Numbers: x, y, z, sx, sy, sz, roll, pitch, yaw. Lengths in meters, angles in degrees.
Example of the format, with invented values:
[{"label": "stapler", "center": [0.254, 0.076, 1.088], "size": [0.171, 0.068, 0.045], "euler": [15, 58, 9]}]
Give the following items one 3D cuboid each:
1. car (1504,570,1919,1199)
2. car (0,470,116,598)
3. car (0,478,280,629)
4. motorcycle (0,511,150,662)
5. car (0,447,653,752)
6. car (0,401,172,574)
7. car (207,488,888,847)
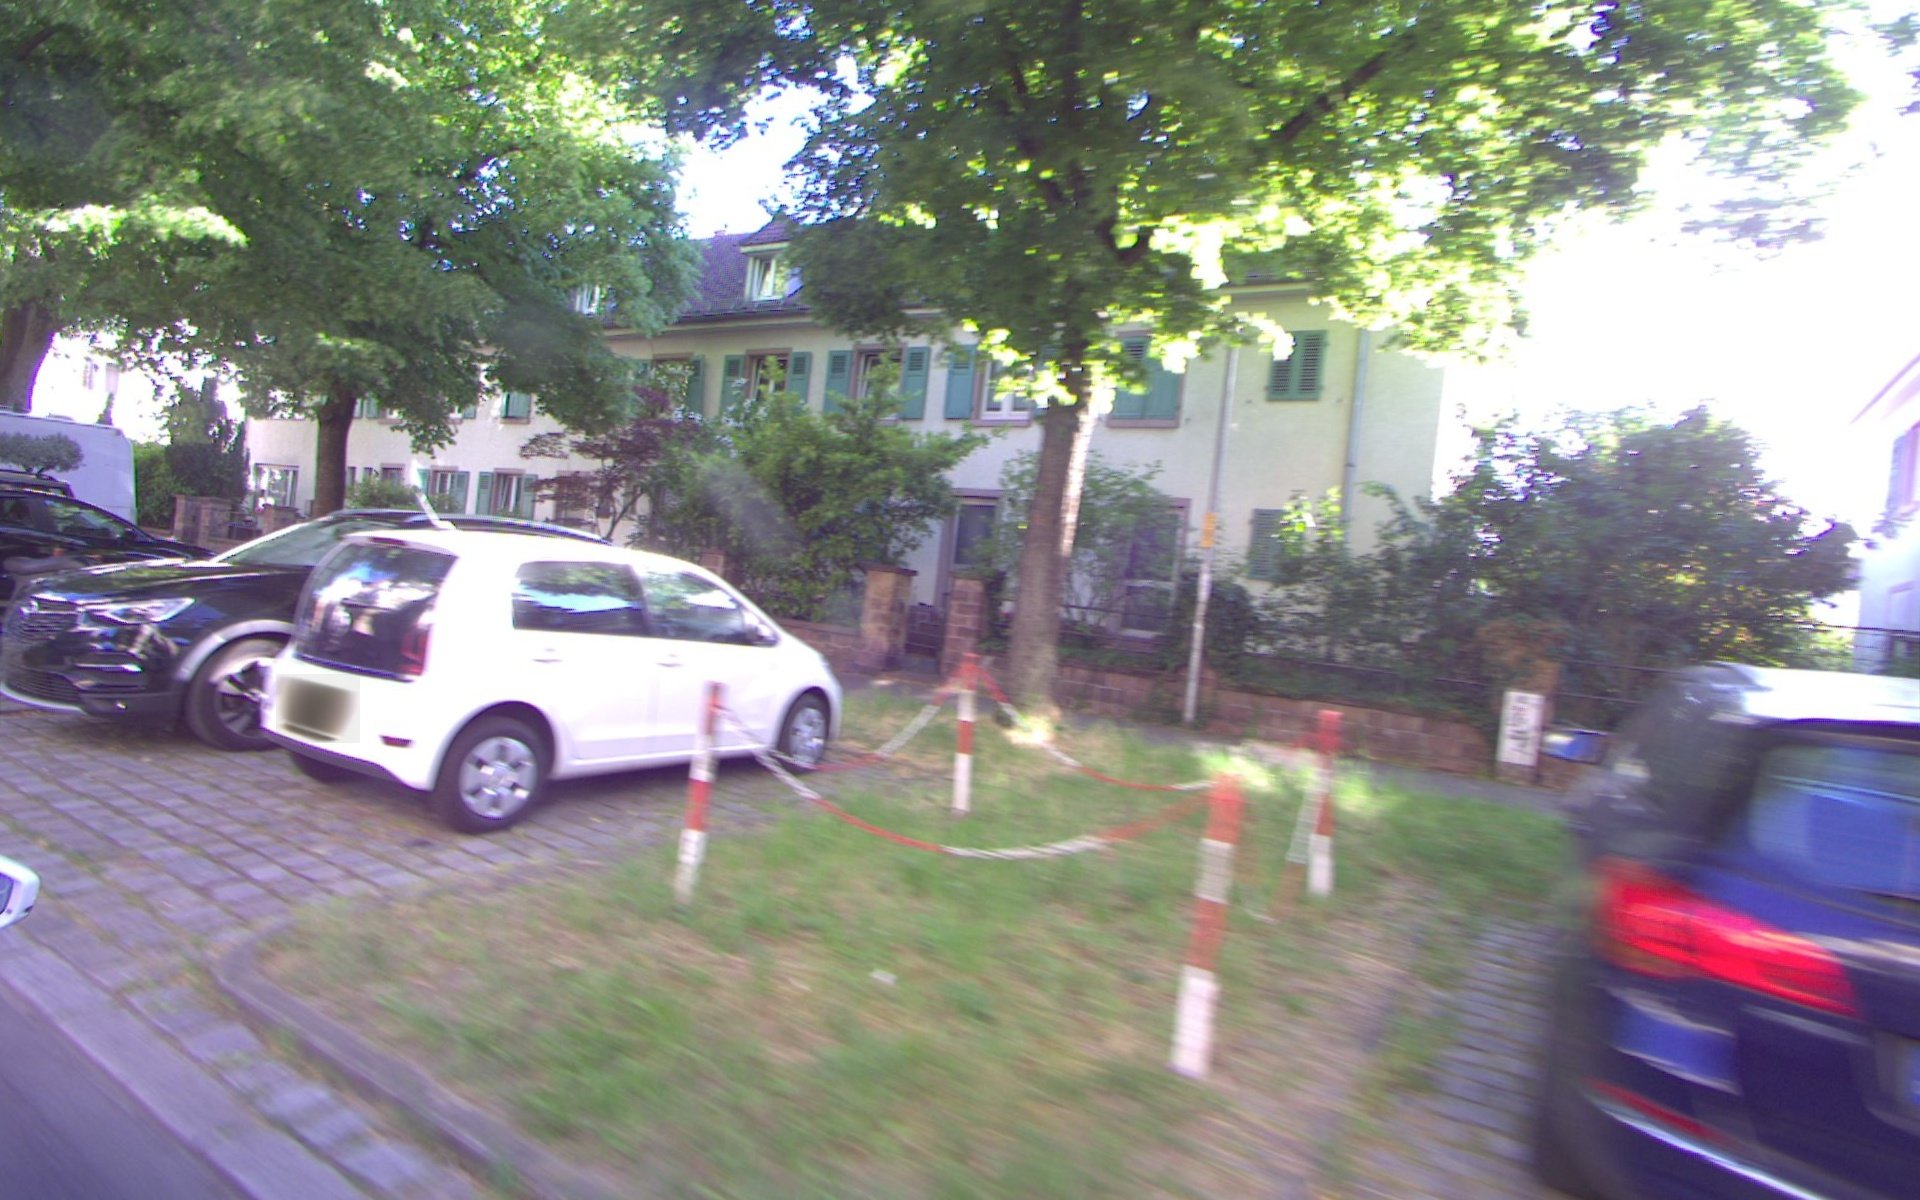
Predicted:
[{"label": "car", "center": [2.992, 0.916, 3.389], "size": [1.664, 1.619, 4.225], "euler": [4, -1, 33]}, {"label": "car", "center": [-13.750, -0.956, 12.959], "size": [1.613, 1.672, 4.083], "euler": [6, 3, 29]}, {"label": "car", "center": [-11.140, -0.574, 12.447], "size": [1.674, 1.619, 4.144], "euler": [4, -1, 29]}, {"label": "motorcycle", "center": [-7.905, -0.145, 8.402], "size": [1.587, 1.155, 0.668], "euler": [6, 1, -26]}, {"label": "car", "center": [-4.558, 0.065, 7.524], "size": [1.675, 1.619, 4.140], "euler": [4, -1, 33]}, {"label": "car", "center": [-19.075, -2.259, 18.180], "size": [2.422, 3.018, 7.153], "euler": [6, 2, 29]}, {"label": "car", "center": [-2.317, 0.363, 6.575], "size": [1.664, 1.619, 3.775], "euler": [4, -1, 33]}]
